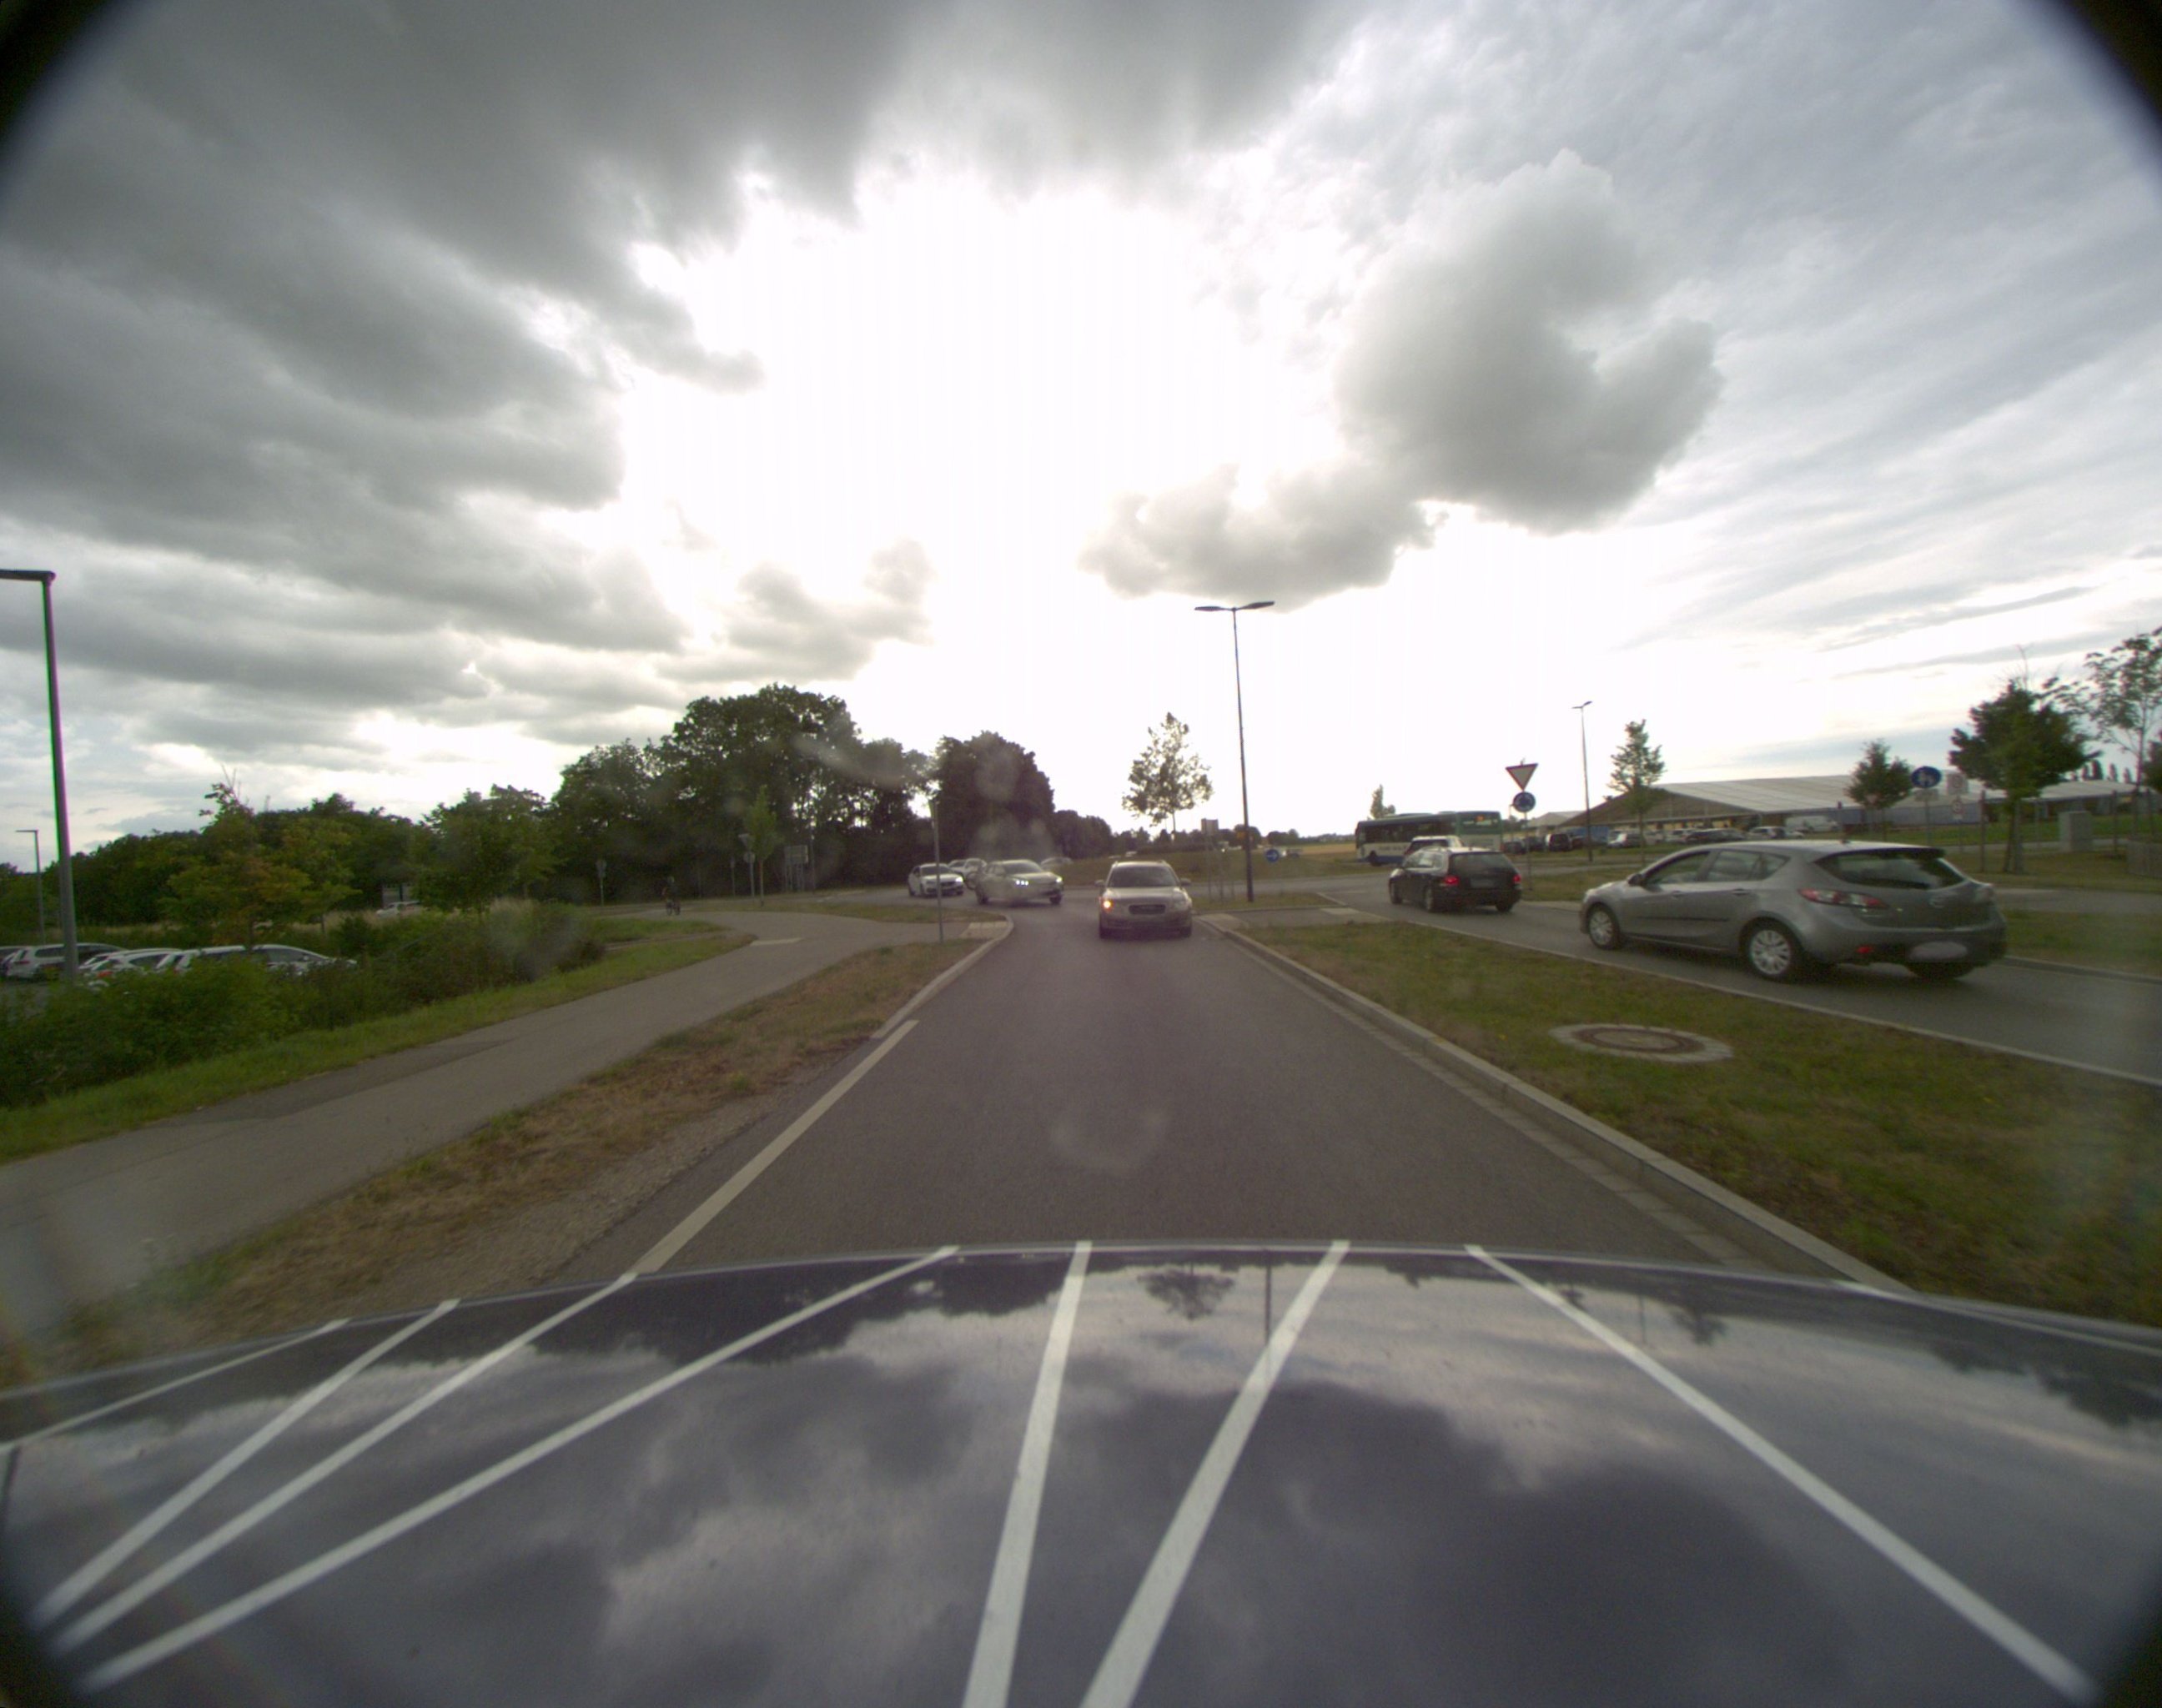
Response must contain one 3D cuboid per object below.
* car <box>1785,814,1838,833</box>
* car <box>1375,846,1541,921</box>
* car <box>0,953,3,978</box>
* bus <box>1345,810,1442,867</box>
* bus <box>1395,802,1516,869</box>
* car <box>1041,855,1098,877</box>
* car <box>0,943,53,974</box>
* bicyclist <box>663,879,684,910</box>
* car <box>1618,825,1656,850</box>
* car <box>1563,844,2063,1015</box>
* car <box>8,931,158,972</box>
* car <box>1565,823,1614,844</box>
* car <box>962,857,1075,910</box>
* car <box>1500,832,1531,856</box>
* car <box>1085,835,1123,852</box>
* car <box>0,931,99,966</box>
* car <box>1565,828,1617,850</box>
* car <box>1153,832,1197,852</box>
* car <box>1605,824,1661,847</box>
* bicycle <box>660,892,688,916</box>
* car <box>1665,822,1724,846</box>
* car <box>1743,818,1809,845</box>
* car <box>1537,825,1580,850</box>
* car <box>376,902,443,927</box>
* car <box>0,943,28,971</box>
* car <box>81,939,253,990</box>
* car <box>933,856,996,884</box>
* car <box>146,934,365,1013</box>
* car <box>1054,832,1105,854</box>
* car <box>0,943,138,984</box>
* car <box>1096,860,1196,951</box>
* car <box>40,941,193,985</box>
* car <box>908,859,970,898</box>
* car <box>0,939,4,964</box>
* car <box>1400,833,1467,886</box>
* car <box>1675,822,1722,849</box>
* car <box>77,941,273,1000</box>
[{"bbox_3d":[82.238,-3.403,85.565,4.568,2.002,1.998,-2,0,-12],"label":"car"},{"bbox_3d":[8.553,0.605,17.725,1.830,1.480,4.337,-2,0,2],"label":"car"},{"bbox_3d":[-61.030,6.202,40.444,1.697,1.352,4.007,-2,0,28],"label":"car"},{"bbox_3d":[19.573,-0.909,48.091,2.992,3.261,6.699,-2,0,-3],"label":"bus"},{"bbox_3d":[20.203,-0.922,41.473,2.992,3.261,6.482,-2,0,-4],"label":"bus"},{"bbox_3d":[-0.862,0.868,57.352,3.777,1.510,1.995,-2,0,-35],"label":"car"},{"bbox_3d":[-55.538,5.424,38.402,1.697,1.352,4.007,-2,0,28],"label":"car"},{"bbox_3d":[-16.898,1.677,31.502,0.657,1.236,0.556,-1,1,41],"label":"bicyclist"},{"bbox_3d":[46.780,-1.398,64.006,1.995,2.002,4.007,-2,0,29],"label":"car"},{"bbox_3d":[7.885,0.672,8.908,1.830,1.480,4.216,-2,0,1],"label":"car"},{"bbox_3d":[-46.712,4.540,35.670,1.697,1.352,4.007,-2,0,28],"label":"car"},{"bbox_3d":[53.146,-2.146,79.387,4.001,2.002,1.998,-2,0,-12],"label":"car"},{"bbox_3d":[-2.320,0.996,26.686,1.874,1.578,5.051,-4,1,-30],"label":"car"},{"bbox_3d":[37.616,-0.851,65.918,1.995,2.002,4.007,-2,0,25],"label":"car"},{"bbox_3d":[2.331,-1.057,76.607,1.995,1.674,4.008,-2,0,33],"label":"car"},{"bbox_3d":[-52.262,4.708,37.728,1.697,1.352,4.007,-2,0,28],"label":"car"},{"bbox_3d":[50.259,-1.429,74.866,4.001,2.002,1.998,-2,0,-12],"label":"car"},{"bbox_3d":[8.060,-1.026,64.959,1.994,1.674,4.008,-2,0,38],"label":"car"},{"bbox_3d":[52.258,-1.706,71.947,4.000,2.002,1.999,-2,0,-8],"label":"car"},{"bbox_3d":[-16.859,2.060,31.500,1.297,0.956,0.569,-2,1,41],"label":"bicycle"},{"bbox_3d":[54.769,-1.778,67.832,4.001,2.002,1.998,-2,0,-12],"label":"car"},{"bbox_3d":[56.720,-1.832,62.010,4.001,2.002,1.998,-2,0,-12],"label":"car"},{"bbox_3d":[40.261,-1.363,64.115,1.996,2.002,4.005,-2,0,16],"label":"car"},{"bbox_3d":[-52.939,4.737,59.927,4.066,1.761,2.002,-2,0,14],"label":"car"},{"bbox_3d":[-58.472,5.577,39.560,1.697,1.352,4.007,-2,0,28],"label":"car"},{"bbox_3d":[-35.645,4.267,29.768,1.697,1.352,4.007,-2,0,28],"label":"car"},{"bbox_3d":[-7.428,1.021,48.997,1.995,1.674,4.007,-2,0,27],"label":"car"},{"bbox_3d":[-25.232,3.561,23.420,1.697,1.707,4.250,-2,0,28],"label":"car"},{"bbox_3d":[-0.069,-0.970,65.246,1.995,1.794,4.781,-2,0,33],"label":"car"},{"bbox_3d":[-49.527,5.294,37.154,1.697,1.352,4.007,-2,0,28],"label":"car"},{"bbox_3d":[1.281,0.933,15.448,1.700,1.458,4.000,-2,1,4],"label":"car"},{"bbox_3d":[-43.560,4.898,34.428,1.697,1.352,4.007,-2,0,28],"label":"car"},{"bbox_3d":[-6.477,1.057,34.399,1.873,1.533,4.192,-4,1,-22],"label":"car"},{"bbox_3d":[-63.265,5.633,42.053,1.697,1.352,4.007,-2,0,28],"label":"car"},{"bbox_3d":[12.995,0.138,27.855,1.827,1.712,4.407,-1,2,30],"label":"car"},{"bbox_3d":[49.834,-1.489,61.372,2.227,2.002,4.007,-2,0,29],"label":"car"},{"bbox_3d":[-30.930,3.910,26.086,1.840,1.352,4.007,-2,0,28],"label":"car"}]
